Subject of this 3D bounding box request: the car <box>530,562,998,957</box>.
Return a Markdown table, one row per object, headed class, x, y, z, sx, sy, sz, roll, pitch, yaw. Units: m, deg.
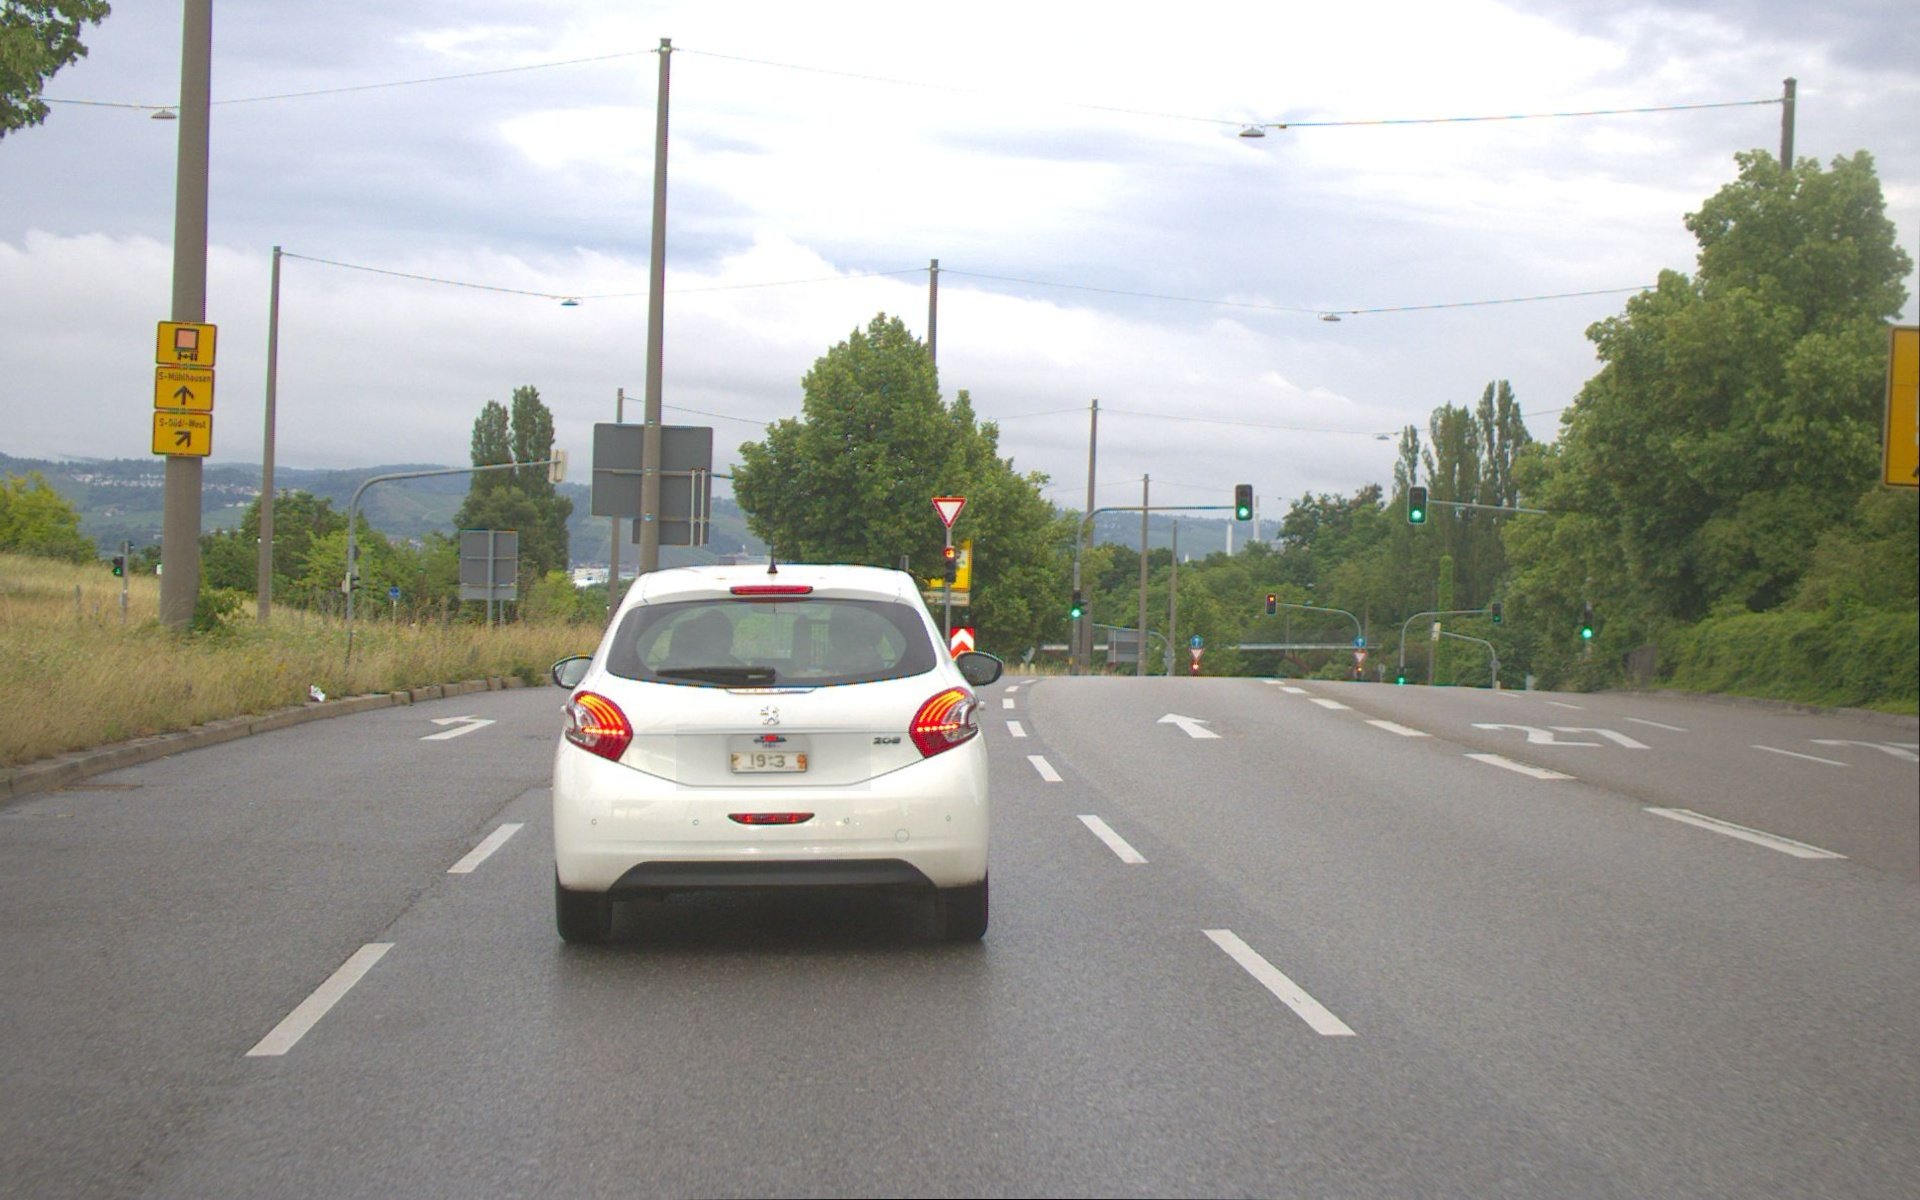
| class | x | y | z | sx | sy | sz | roll | pitch | yaw |
| --- | --- | --- | --- | --- | --- | --- | --- | --- | --- |
| car | -0.818 | 0.562 | 14.419 | 1.708 | 1.435 | 3.691 | 0 | 1 | -3 |
